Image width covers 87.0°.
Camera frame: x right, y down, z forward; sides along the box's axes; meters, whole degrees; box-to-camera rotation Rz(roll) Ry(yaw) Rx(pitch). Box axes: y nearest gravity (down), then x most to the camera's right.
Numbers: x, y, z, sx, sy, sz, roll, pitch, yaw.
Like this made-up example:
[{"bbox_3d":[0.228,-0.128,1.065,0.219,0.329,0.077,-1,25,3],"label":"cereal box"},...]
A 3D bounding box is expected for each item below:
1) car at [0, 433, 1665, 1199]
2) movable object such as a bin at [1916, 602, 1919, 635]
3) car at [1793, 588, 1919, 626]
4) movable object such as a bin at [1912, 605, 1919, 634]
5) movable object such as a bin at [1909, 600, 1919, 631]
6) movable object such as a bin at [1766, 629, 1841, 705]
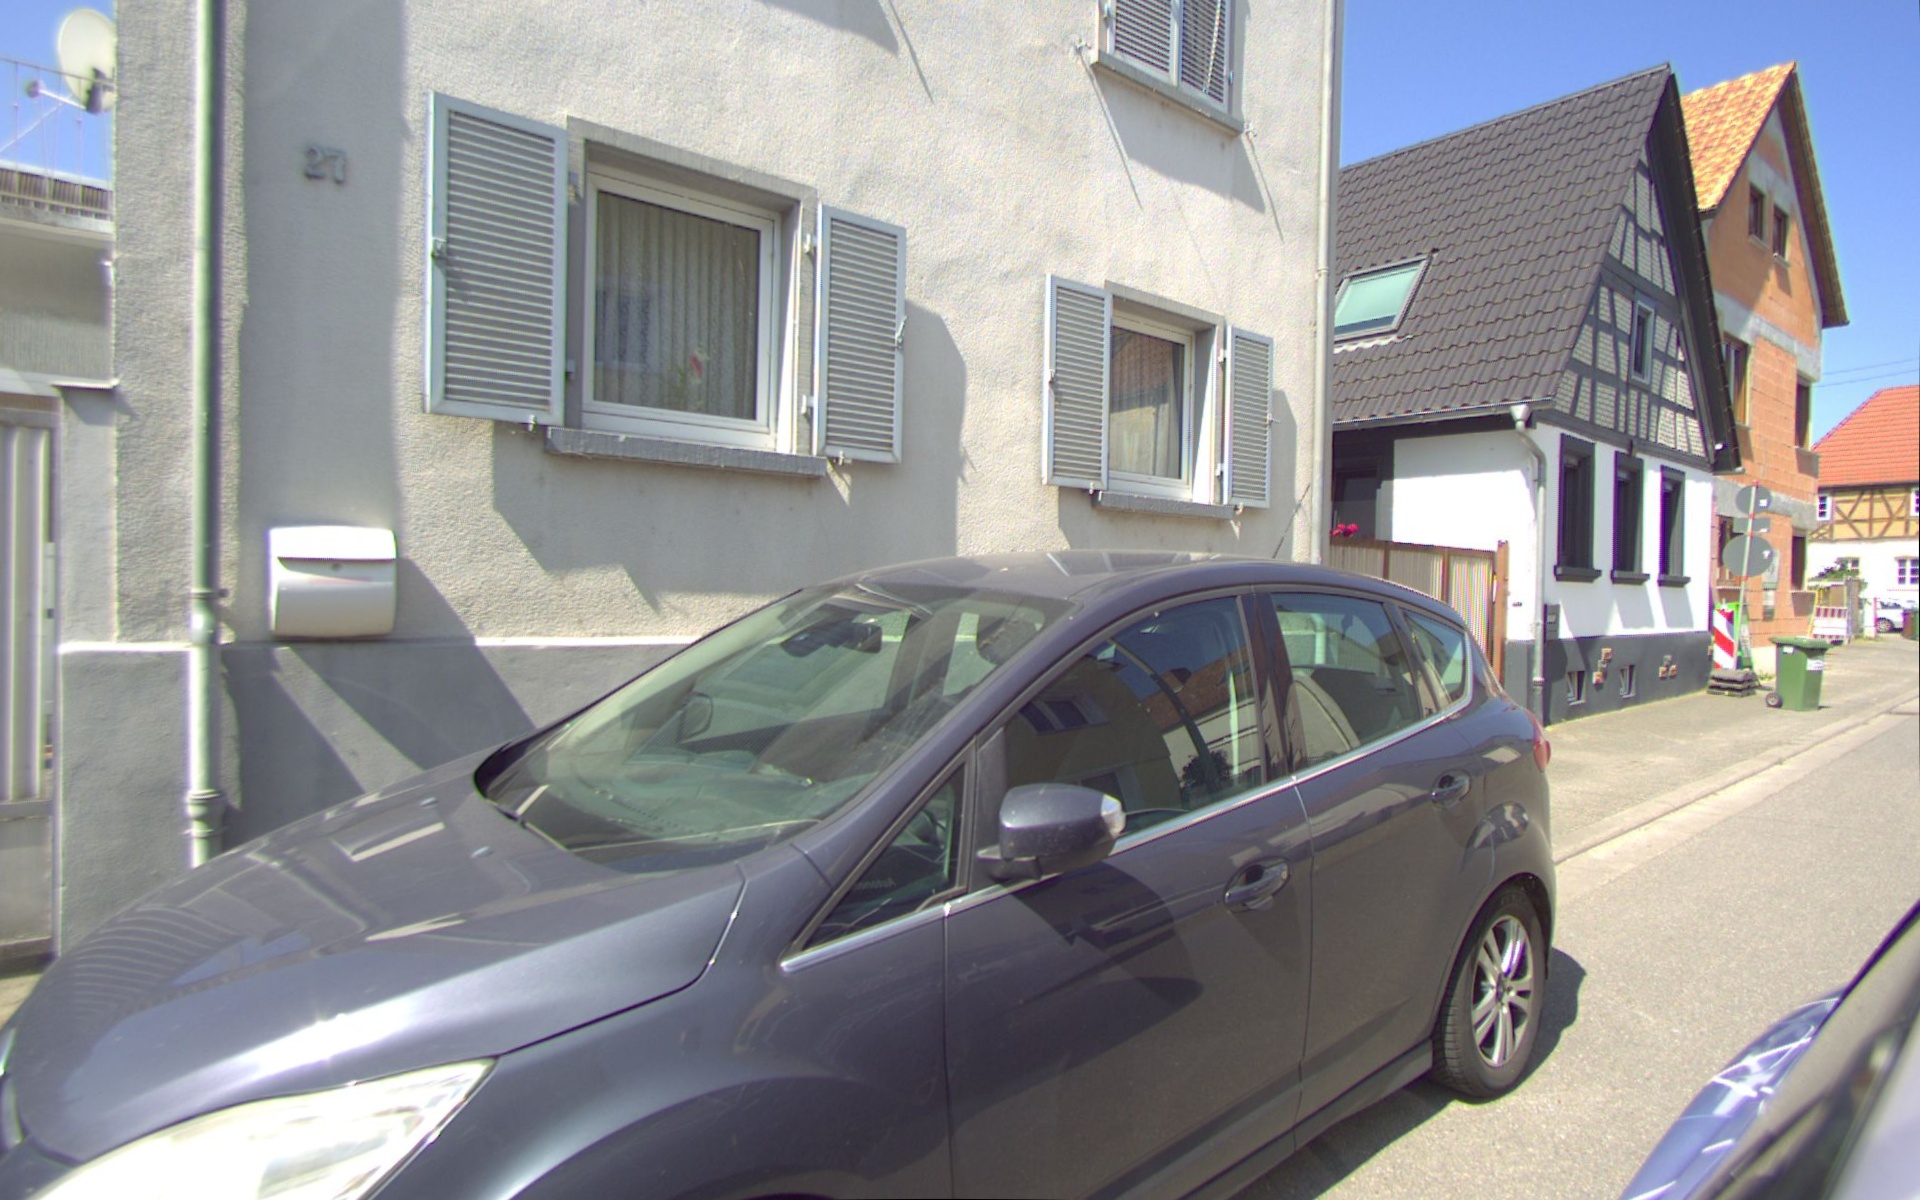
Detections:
[{"bbox_3d":[0.230,0.610,2.949,4.548,1.579,1.802,0,1,-39],"label":"car"},{"bbox_3d":[31.735,0.626,32.869,0.752,1.085,0.668,1,1,18],"label":"movable object such as a bin"},{"bbox_3d":[39.408,0.285,43.799,1.959,1.470,4.775,0,2,-28],"label":"car"},{"bbox_3d":[32.374,0.660,33.997,0.486,0.982,0.467,1,1,-32],"label":"movable object such as a bin"},{"bbox_3d":[34.534,0.568,36.170,0.741,1.095,0.722,1,1,-35],"label":"movable object such as a bin"},{"bbox_3d":[10.903,0.858,13.083,0.540,0.925,0.541,0,1,-22],"label":"movable object such as a bin"}]
